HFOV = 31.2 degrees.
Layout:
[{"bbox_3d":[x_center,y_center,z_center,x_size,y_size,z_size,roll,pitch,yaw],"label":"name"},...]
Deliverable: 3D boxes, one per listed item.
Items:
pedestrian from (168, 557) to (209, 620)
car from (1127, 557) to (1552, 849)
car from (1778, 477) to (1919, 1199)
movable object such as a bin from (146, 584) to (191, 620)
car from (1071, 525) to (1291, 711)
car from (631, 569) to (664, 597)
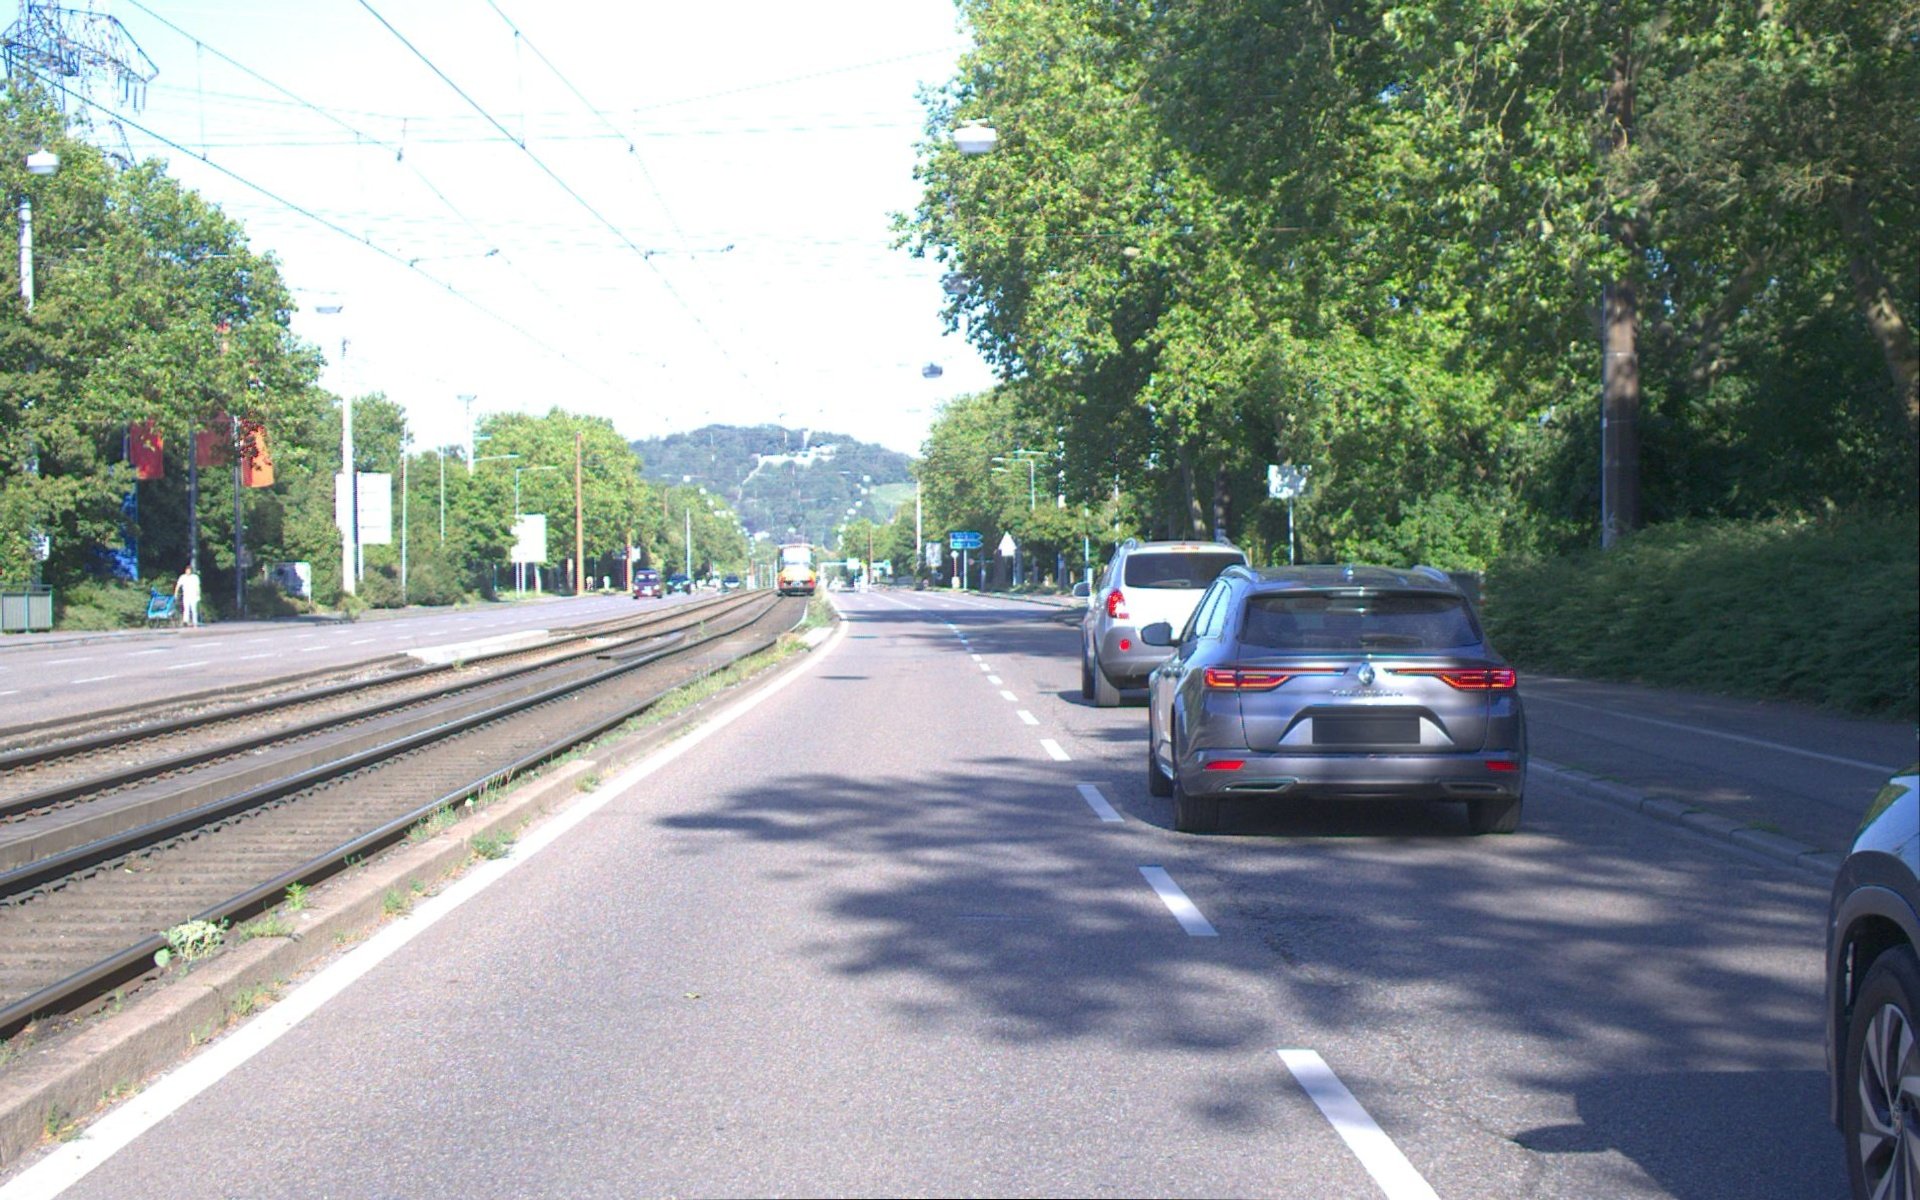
[{"bbox_3d":[-21.814,-0.312,97.224,0.725,1.750,0.834,2,0,21],"label":"pedestrian"},{"bbox_3d":[2.036,0.496,19.744,1.866,1.462,4.666,0,1,-1],"label":"car"},{"bbox_3d":[2.777,0.620,5.362,1.844,1.655,4.440,1,1,-1],"label":"car"},{"bbox_3d":[-22.171,0.061,96.318,0.725,0.958,1.100,2,0,21],"label":"movable object such as a bin"},{"bbox_3d":[2.260,0.137,36.131,1.883,1.789,4.001,1,1,-2],"label":"car"},{"bbox_3d":[-19.922,-1.075,219.435,1.862,1.714,4.001,0,1,-2],"label":"car"}]
